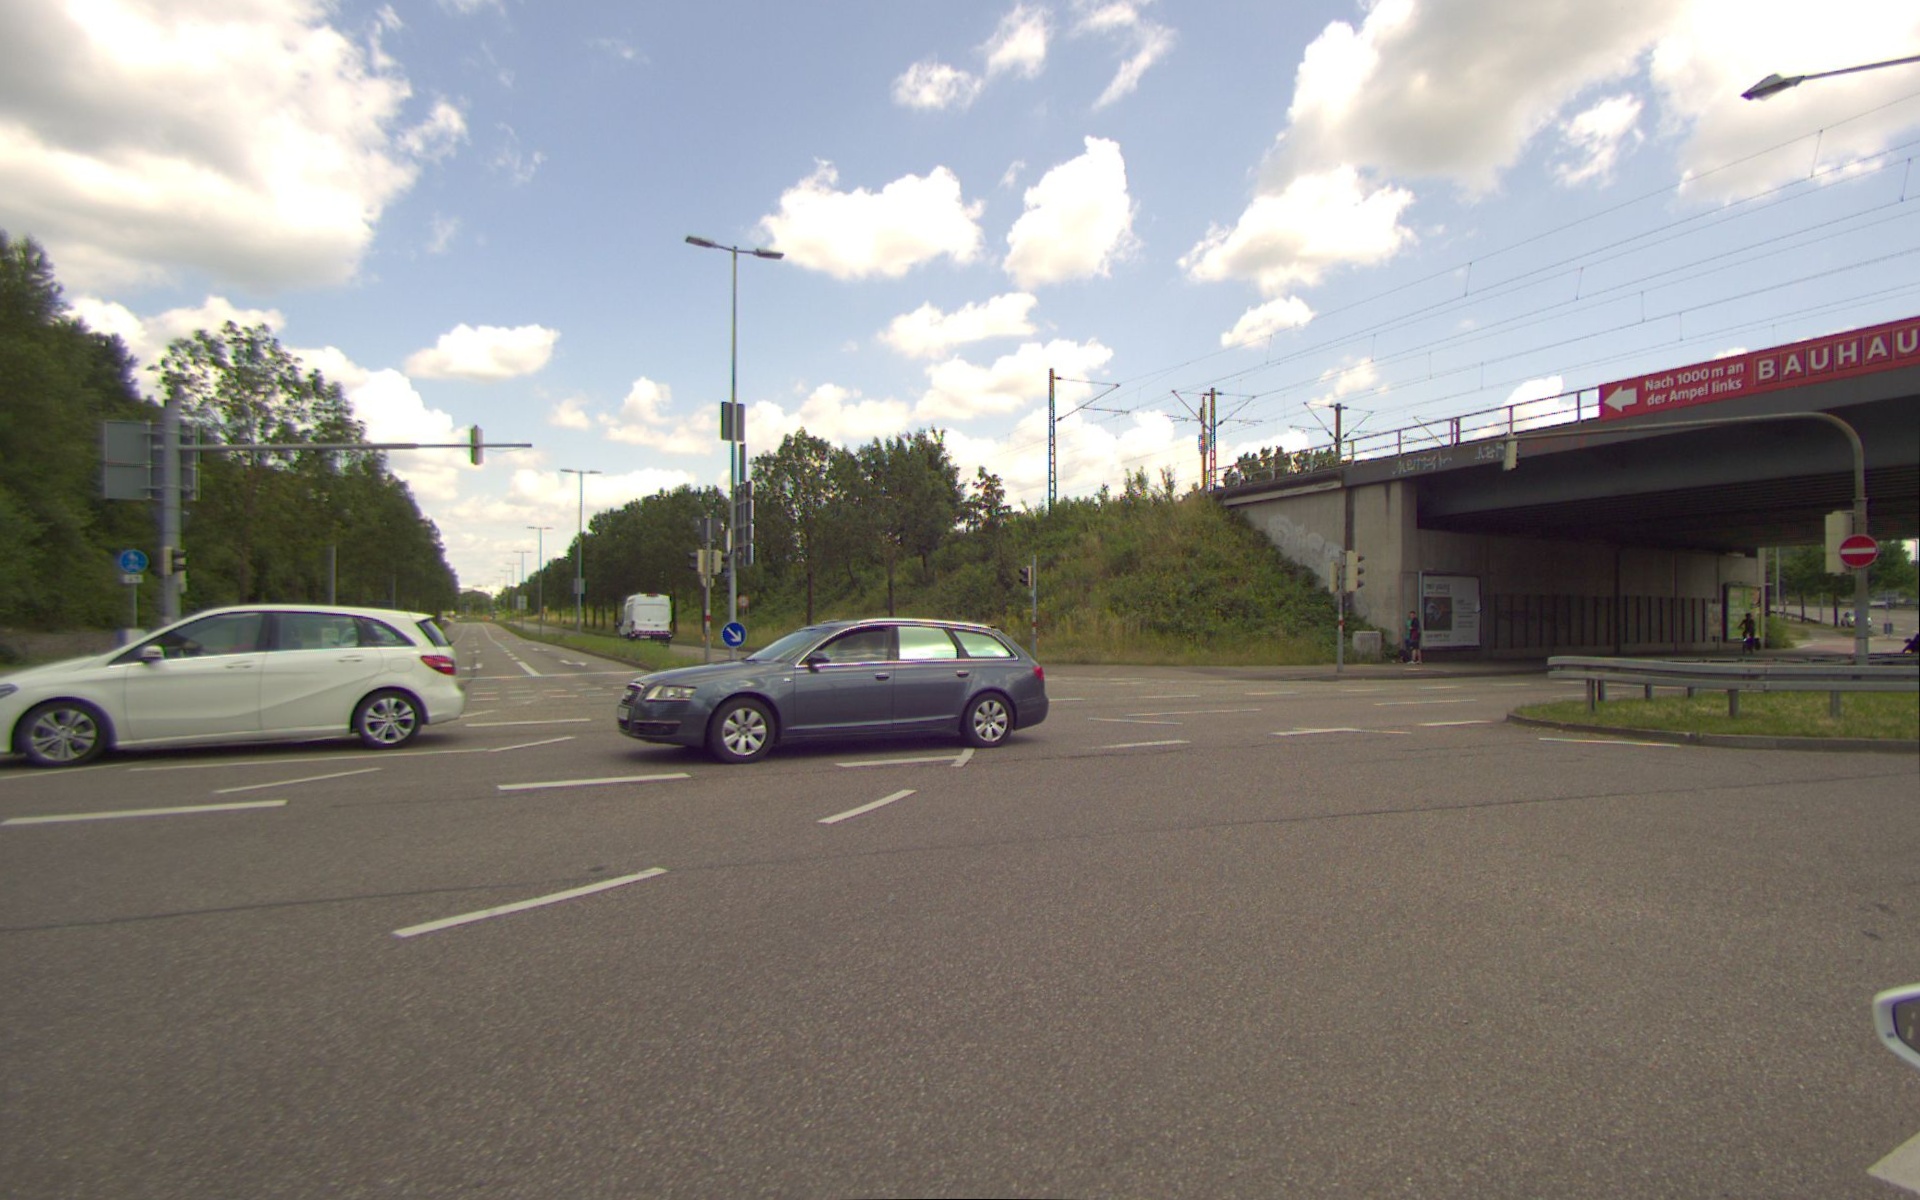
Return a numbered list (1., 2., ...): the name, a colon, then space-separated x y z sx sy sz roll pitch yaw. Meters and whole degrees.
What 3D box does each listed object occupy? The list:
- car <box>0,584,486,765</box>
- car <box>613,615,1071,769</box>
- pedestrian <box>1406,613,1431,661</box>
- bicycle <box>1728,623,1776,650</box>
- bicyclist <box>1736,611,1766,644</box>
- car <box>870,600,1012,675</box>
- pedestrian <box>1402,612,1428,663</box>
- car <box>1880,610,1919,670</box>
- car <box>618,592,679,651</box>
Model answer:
1. car: -7.629 0.727 10.910 4.341 1.654 1.797 1 -1 -31
2. car: -1.231 0.909 11.228 4.725 1.407 1.965 1 -2 -31
3. pedestrian: 15.767 1.262 34.559 0.579 1.646 0.552 0 -1 -29
4. bicycle: 35.637 1.630 45.190 2.251 1.158 0.678 1 0 -23
5. bicyclist: 35.577 1.228 45.157 0.911 1.427 0.680 1 0 -23
6. car: -0.604 1.061 29.522 3.944 2.040 1.988 -1 -2 43
7. pedestrian: 15.308 1.247 33.801 0.550 1.703 0.587 1 -1 -32
8. car: 30.506 1.226 31.004 4.665 1.782 1.983 1 -1 -32
9. car: -16.282 1.134 52.333 2.355 2.859 5.383 1 -1 -25
